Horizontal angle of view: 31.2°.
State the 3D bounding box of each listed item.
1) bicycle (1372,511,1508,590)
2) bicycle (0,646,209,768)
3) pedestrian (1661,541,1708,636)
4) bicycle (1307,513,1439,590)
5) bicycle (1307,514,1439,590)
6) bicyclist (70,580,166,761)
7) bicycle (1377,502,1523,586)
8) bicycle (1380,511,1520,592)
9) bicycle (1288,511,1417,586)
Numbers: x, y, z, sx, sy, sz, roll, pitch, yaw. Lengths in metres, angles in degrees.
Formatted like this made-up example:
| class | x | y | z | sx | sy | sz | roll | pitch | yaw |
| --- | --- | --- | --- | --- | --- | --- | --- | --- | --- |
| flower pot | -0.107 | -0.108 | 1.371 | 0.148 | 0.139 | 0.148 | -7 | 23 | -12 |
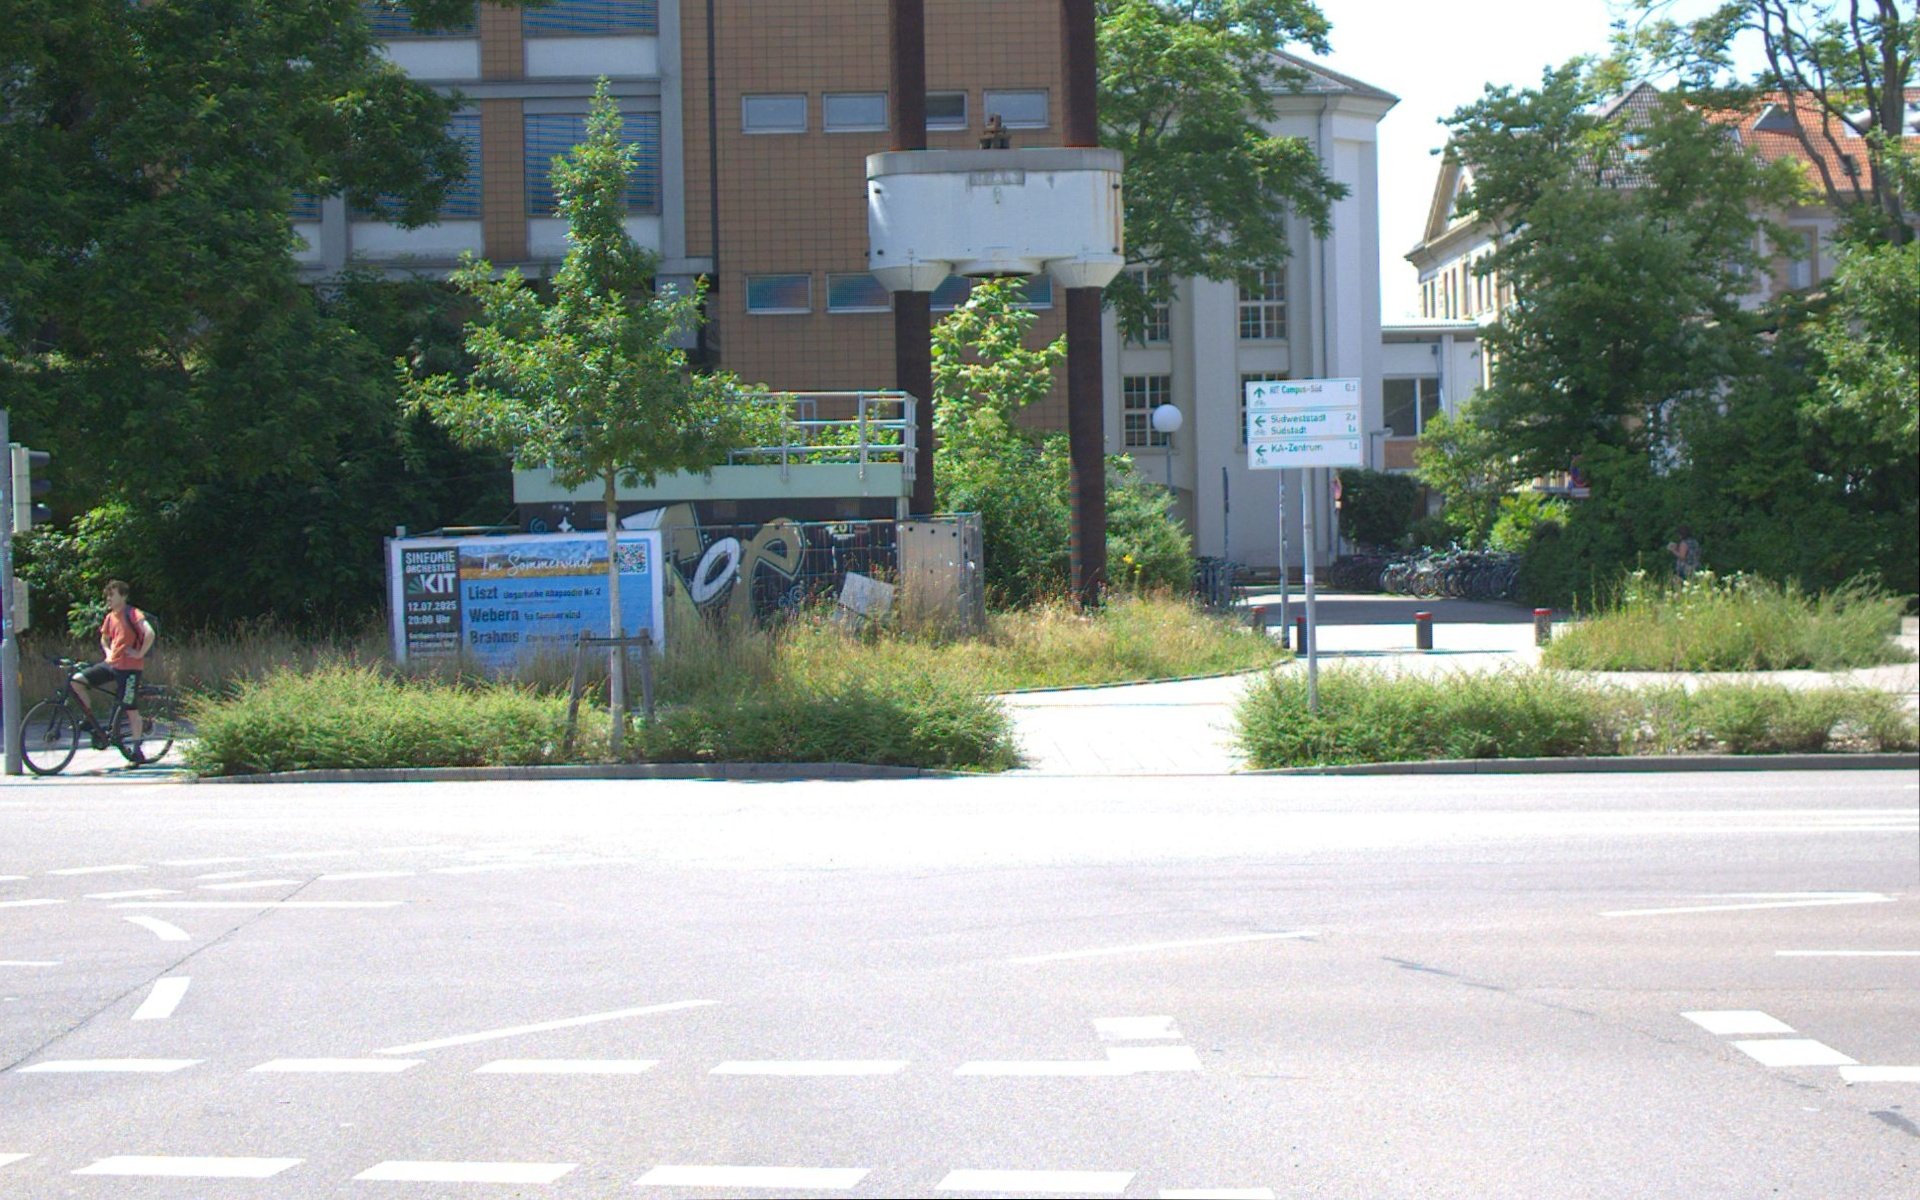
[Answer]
| class | x | y | z | sx | sy | sz | roll | pitch | yaw |
| --- | --- | --- | --- | --- | --- | --- | --- | --- | --- |
| bicycle | 12.635 | -1.308 | 90.489 | 3.447 | 2.007 | 0.760 | 1 | 1 | 2 |
| bicycle | -8.274 | 1.022 | 33.313 | 0.558 | 1.041 | 1.992 | 1 | 3 | 41 |
| pedestrian | 12.775 | -0.211 | 60.611 | 0.639 | 1.660 | 0.707 | 1 | 1 | -1 |
| bicycle | 11.052 | -1.291 | 92.076 | 3.447 | 2.007 | 0.760 | 1 | 1 | 2 |
| bicycle | 11.192 | -1.305 | 93.234 | 3.447 | 2.007 | 0.760 | 1 | 1 | 2 |
| bicyclist | -8.184 | 0.679 | 33.411 | 0.551 | 1.710 | 0.701 | 1 | 3 | 41 |
| bicycle | 12.017 | -1.382 | 84.393 | 3.447 | 2.007 | 0.760 | 1 | 1 | 2 |
| bicycle | 12.527 | -1.237 | 87.890 | 3.447 | 2.007 | 0.760 | 1 | 1 | 2 |
| bicycle | 10.782 | -1.429 | 94.568 | 3.447 | 2.007 | 0.760 | 1 | 1 | 2 |
